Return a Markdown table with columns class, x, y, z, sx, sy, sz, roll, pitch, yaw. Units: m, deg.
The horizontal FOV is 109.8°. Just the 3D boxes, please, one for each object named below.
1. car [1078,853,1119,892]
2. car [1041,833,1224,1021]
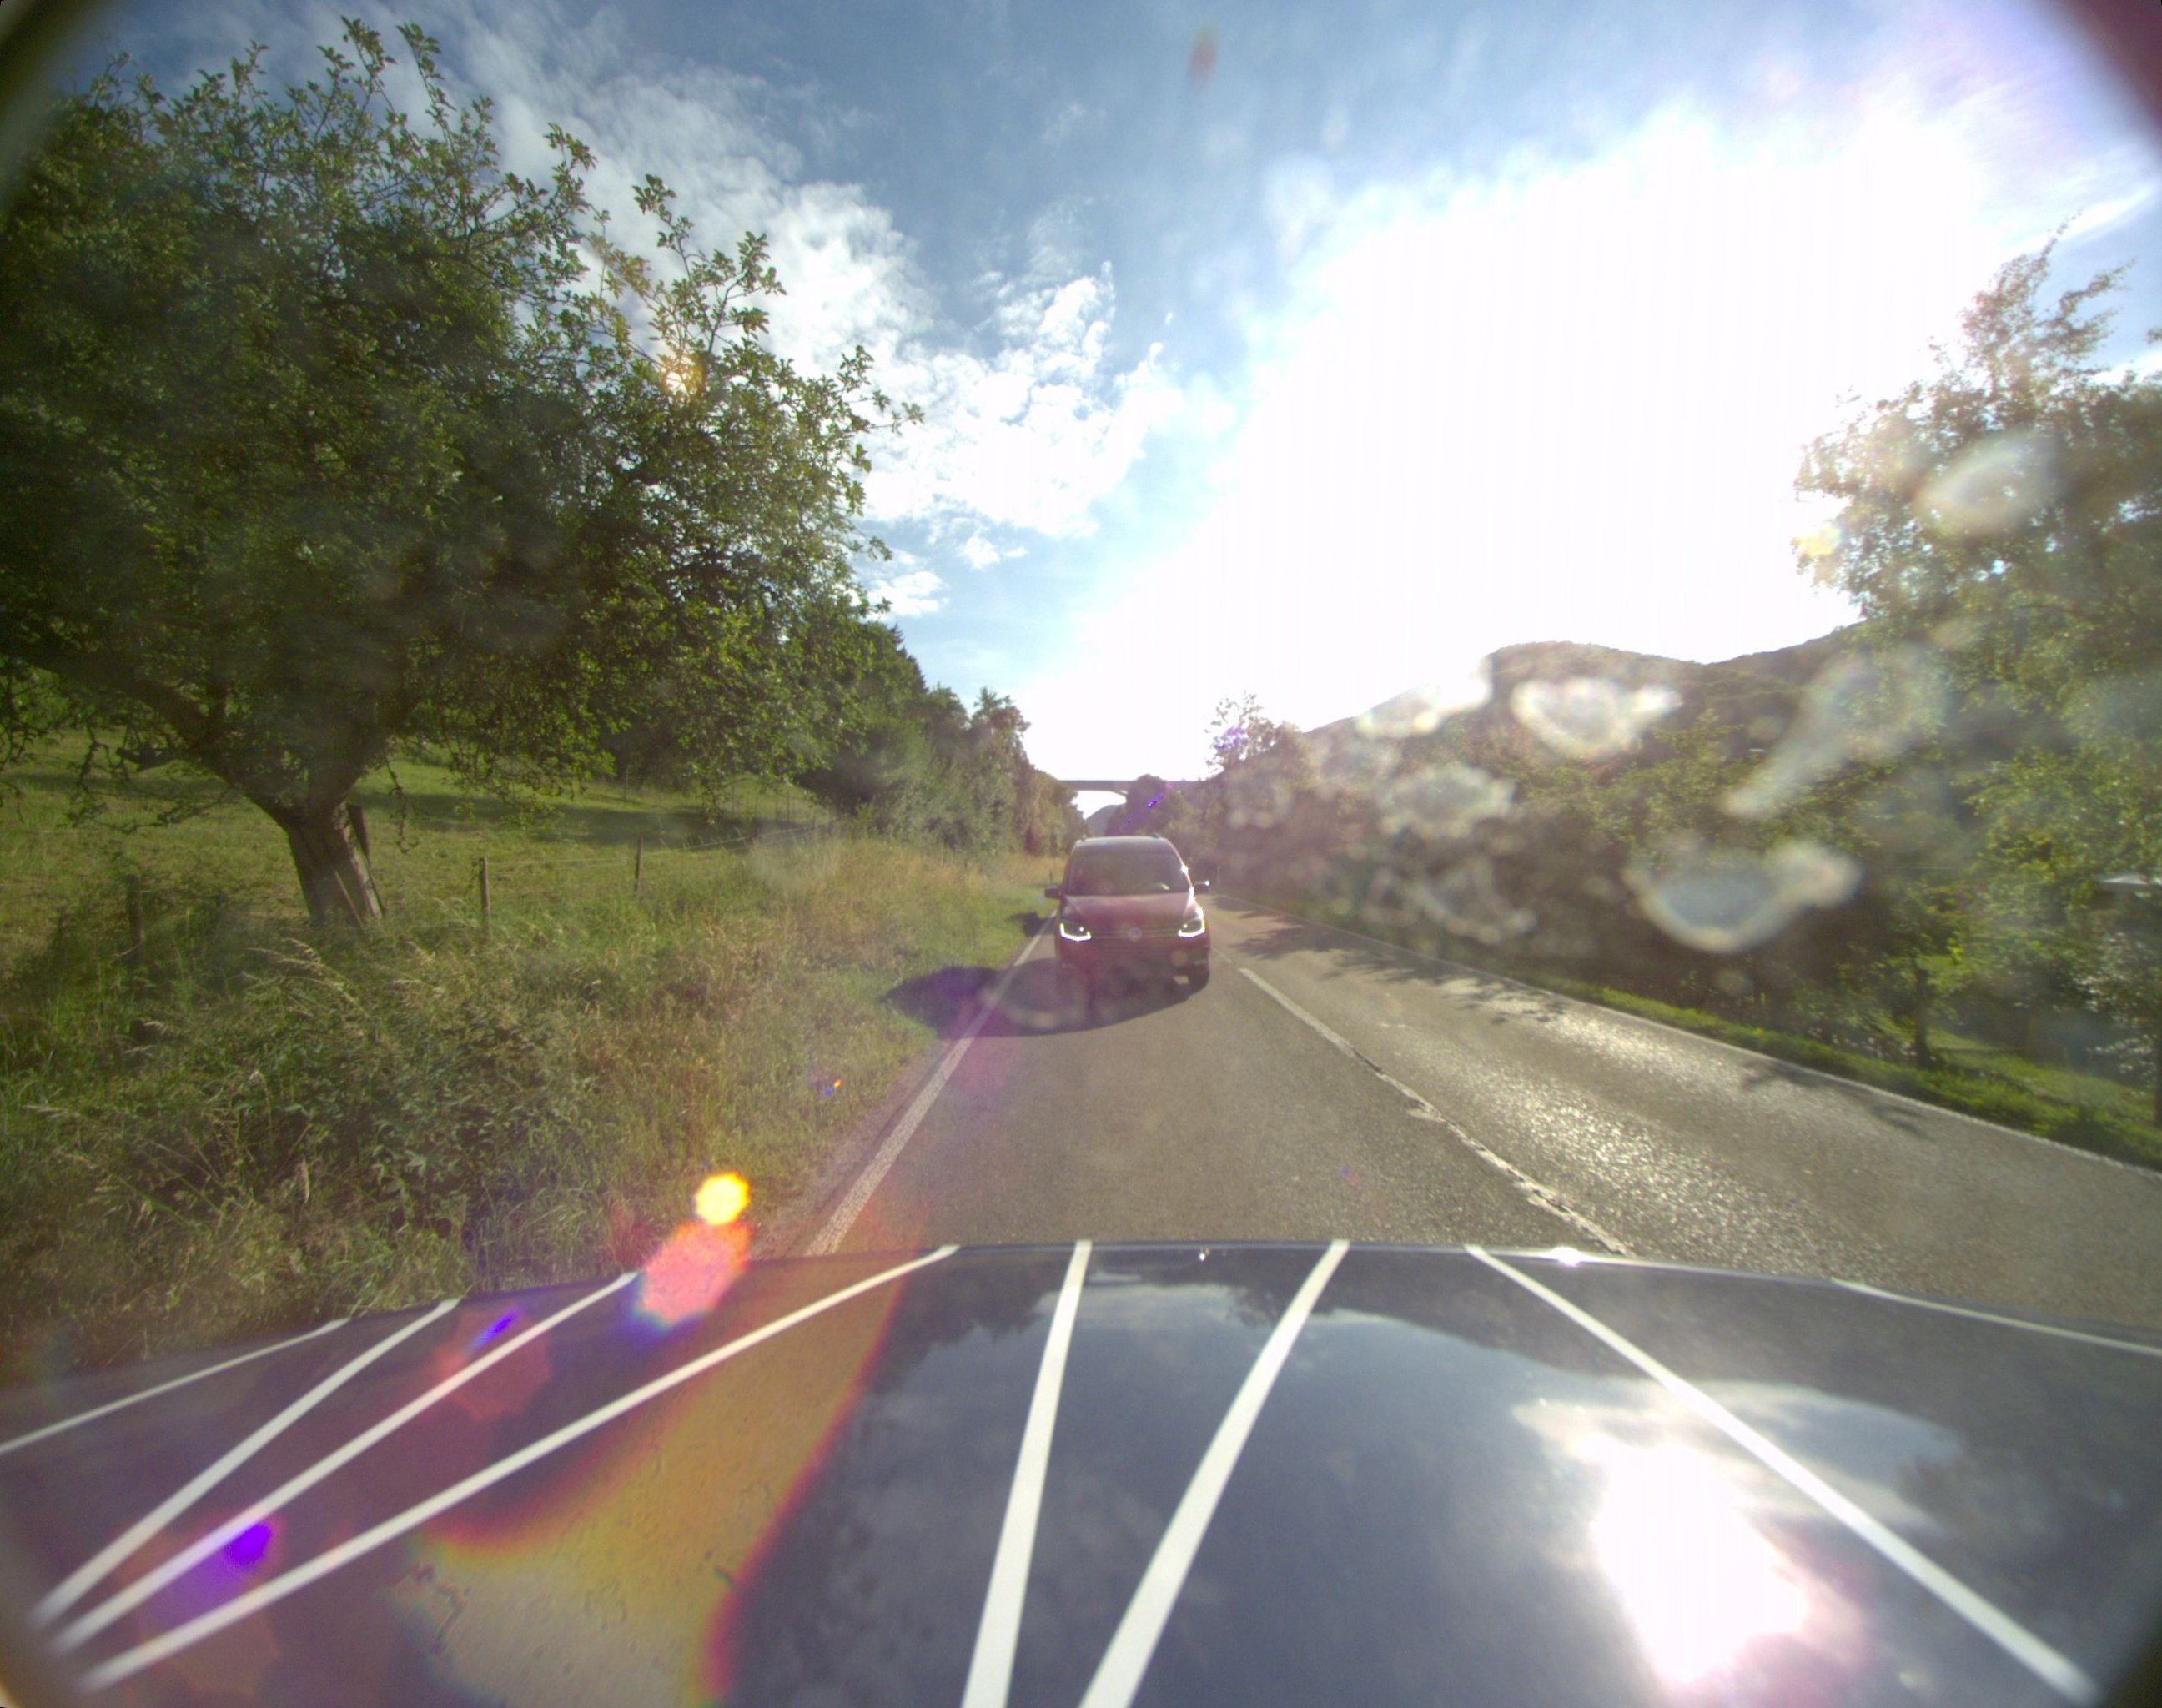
| class | x | y | z | sx | sy | sz | roll | pitch | yaw |
| --- | --- | --- | --- | --- | --- | --- | --- | --- | --- |
| car | 0.835 | 0.830 | 36.343 | 1.753 | 1.608 | 4.288 | -3 | 0 | 1 |
| car | 0.570 | 0.717 | 9.748 | 1.753 | 1.799 | 4.288 | -3 | 1 | 1 |
